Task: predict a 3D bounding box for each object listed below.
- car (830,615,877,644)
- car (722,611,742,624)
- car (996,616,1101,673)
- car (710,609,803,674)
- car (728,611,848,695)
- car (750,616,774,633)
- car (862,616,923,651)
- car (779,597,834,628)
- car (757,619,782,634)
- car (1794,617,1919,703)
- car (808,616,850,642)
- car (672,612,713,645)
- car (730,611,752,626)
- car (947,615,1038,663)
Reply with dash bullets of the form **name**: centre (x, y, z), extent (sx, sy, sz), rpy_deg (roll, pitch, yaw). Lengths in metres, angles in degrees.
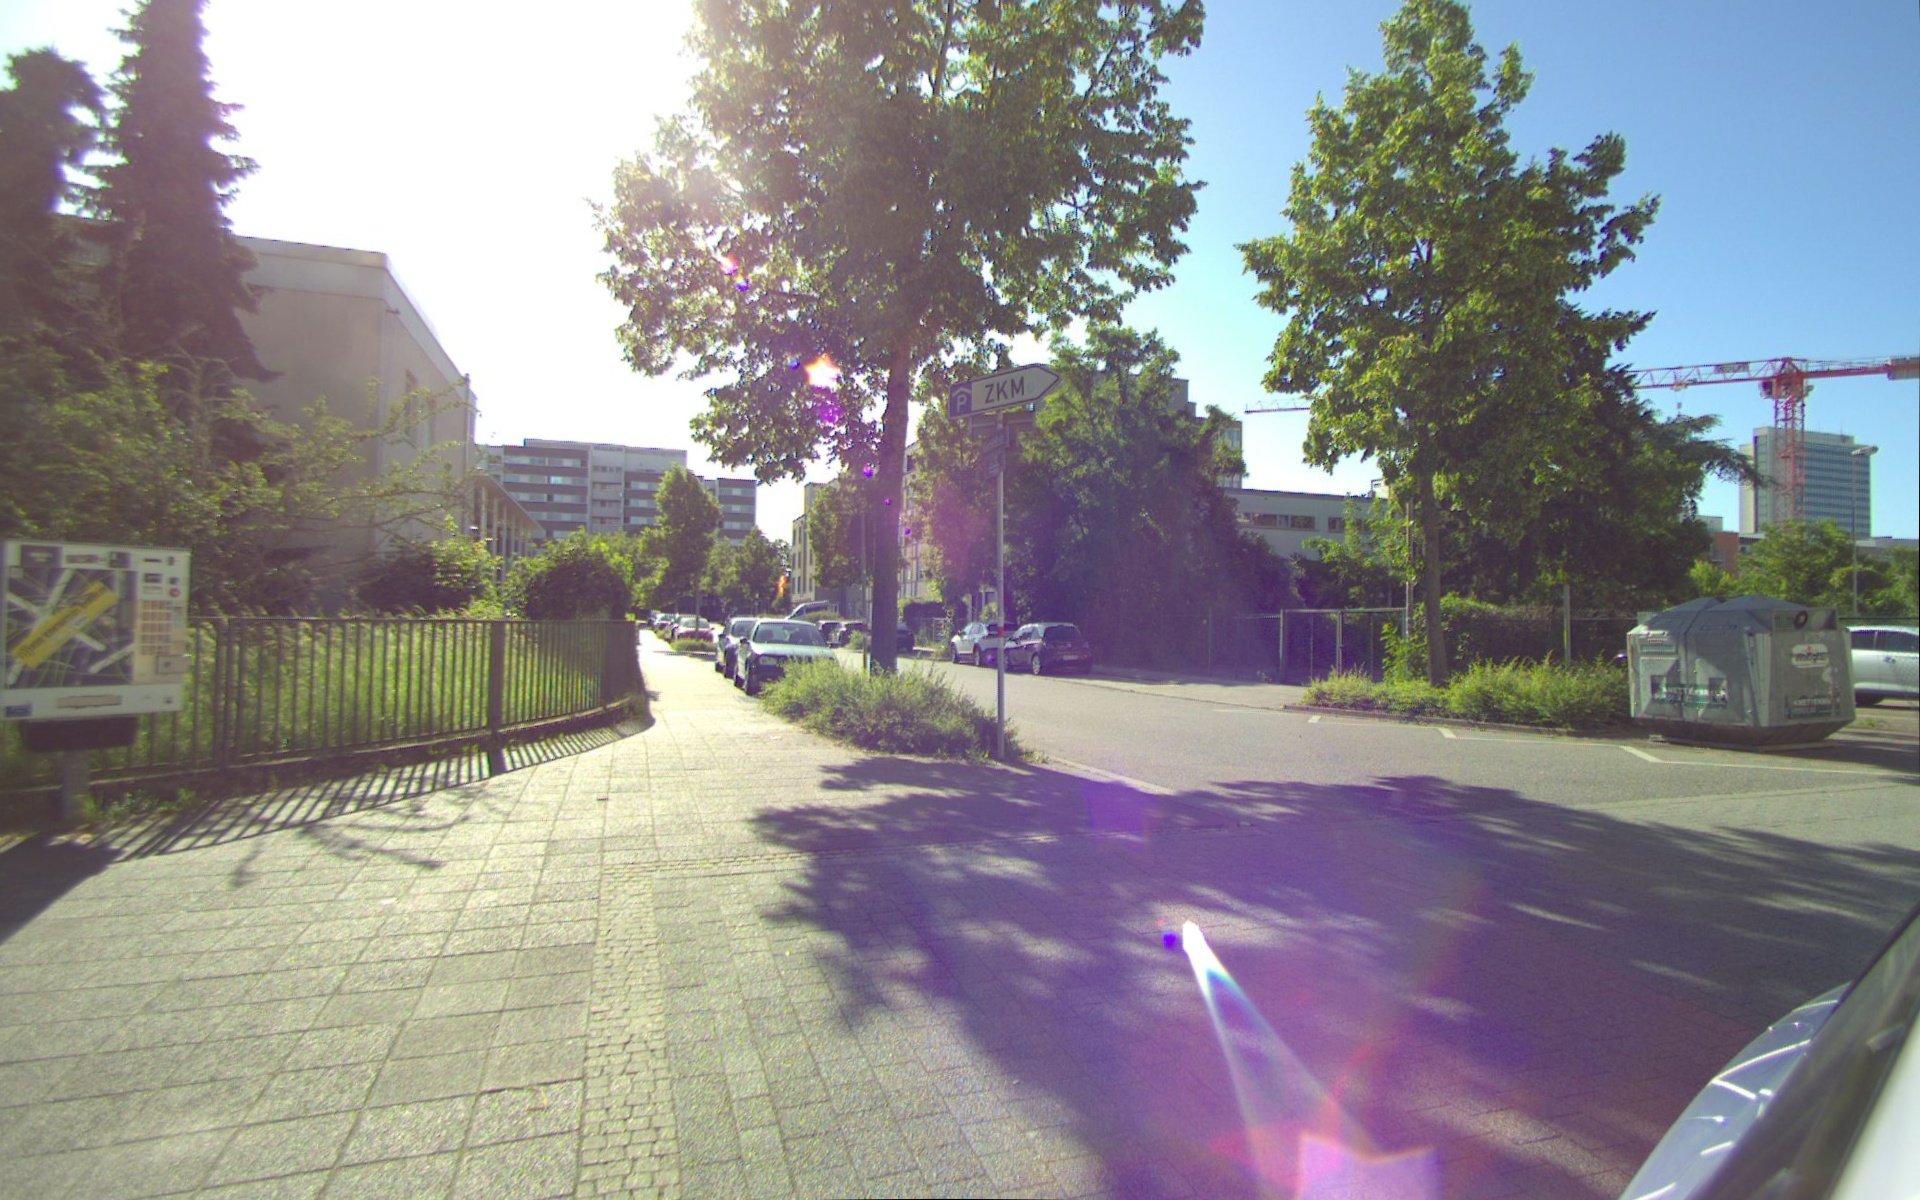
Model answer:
- **car**: centre (-6.017, 1.613, 56.728), extent (1.807, 1.493, 4.035), rpy_deg (-1, 0, -18)
- **car**: centre (-26.478, 1.997, 117.605), extent (1.759, 1.537, 3.897), rpy_deg (0, -1, -21)
- **car**: centre (2.540, 1.252, 29.810), extent (1.687, 1.493, 3.553), rpy_deg (-1, 0, -20)
- **car**: centre (-5.351, 1.030, 26.220), extent (1.752, 1.535, 4.007), rpy_deg (2, -2, -20)
- **car**: centre (-3.489, 0.947, 19.896), extent (1.715, 1.440, 4.433), rpy_deg (1, 0, -18)
- **car**: centre (-17.626, 2.179, 90.221), extent (1.598, 1.544, 3.569), rpy_deg (1, -1, -19)
- **car**: centre (-3.234, 1.511, 47.483), extent (1.807, 1.493, 4.368), rpy_deg (-1, 0, -18)
- **car**: centre (-15.531, 1.281, 102.354), extent (5.047, 2.940, 2.018), rpy_deg (1, -1, -22)
- **car**: centre (-15.977, 2.205, 84.832), extent (1.598, 1.263, 3.569), rpy_deg (1, -1, -18)
- **car**: centre (19.199, 1.161, 19.529), extent (1.958, 1.630, 4.434), rpy_deg (1, -1, -16)
- **car**: centre (-8.078, 1.747, 62.057), extent (1.807, 1.493, 4.107), rpy_deg (-1, 0, -18)
- **car**: centre (-12.972, 1.368, 48.969), extent (1.645, 1.523, 3.853), rpy_deg (1, -1, -19)
- **car**: centre (-23.592, 1.956, 109.139), extent (1.759, 1.620, 3.897), rpy_deg (0, -1, -21)
- **car**: centre (1.049, 1.296, 34.839), extent (1.807, 1.493, 4.010), rpy_deg (-1, 0, -18)
